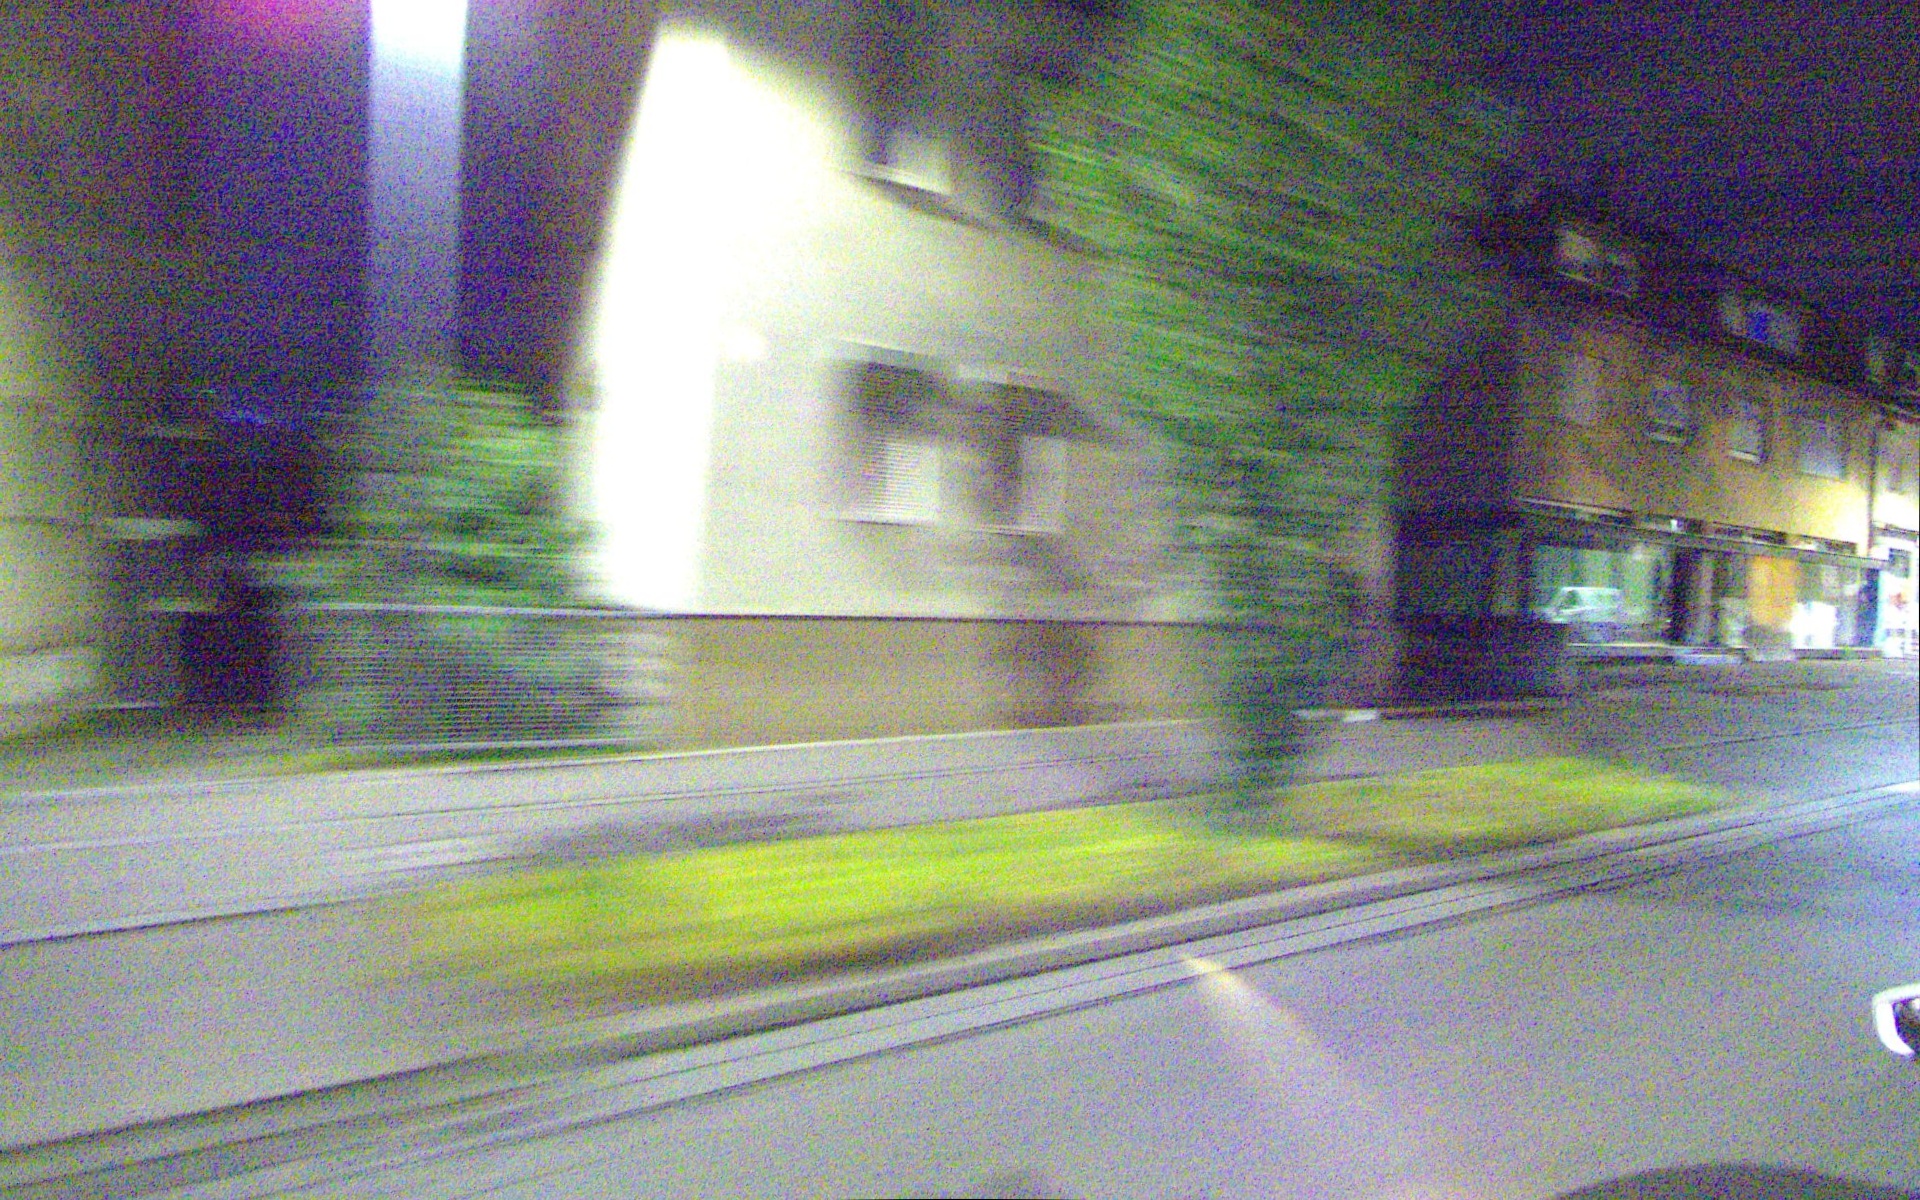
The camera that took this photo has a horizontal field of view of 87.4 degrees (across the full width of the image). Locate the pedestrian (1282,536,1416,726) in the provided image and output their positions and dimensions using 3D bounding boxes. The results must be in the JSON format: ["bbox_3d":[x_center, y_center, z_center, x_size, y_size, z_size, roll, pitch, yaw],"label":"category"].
[{"bbox_3d":[4.400,0.326,11.372,1.190,2.041,0.781,1,2,-30],"label":"pedestrian"}]
